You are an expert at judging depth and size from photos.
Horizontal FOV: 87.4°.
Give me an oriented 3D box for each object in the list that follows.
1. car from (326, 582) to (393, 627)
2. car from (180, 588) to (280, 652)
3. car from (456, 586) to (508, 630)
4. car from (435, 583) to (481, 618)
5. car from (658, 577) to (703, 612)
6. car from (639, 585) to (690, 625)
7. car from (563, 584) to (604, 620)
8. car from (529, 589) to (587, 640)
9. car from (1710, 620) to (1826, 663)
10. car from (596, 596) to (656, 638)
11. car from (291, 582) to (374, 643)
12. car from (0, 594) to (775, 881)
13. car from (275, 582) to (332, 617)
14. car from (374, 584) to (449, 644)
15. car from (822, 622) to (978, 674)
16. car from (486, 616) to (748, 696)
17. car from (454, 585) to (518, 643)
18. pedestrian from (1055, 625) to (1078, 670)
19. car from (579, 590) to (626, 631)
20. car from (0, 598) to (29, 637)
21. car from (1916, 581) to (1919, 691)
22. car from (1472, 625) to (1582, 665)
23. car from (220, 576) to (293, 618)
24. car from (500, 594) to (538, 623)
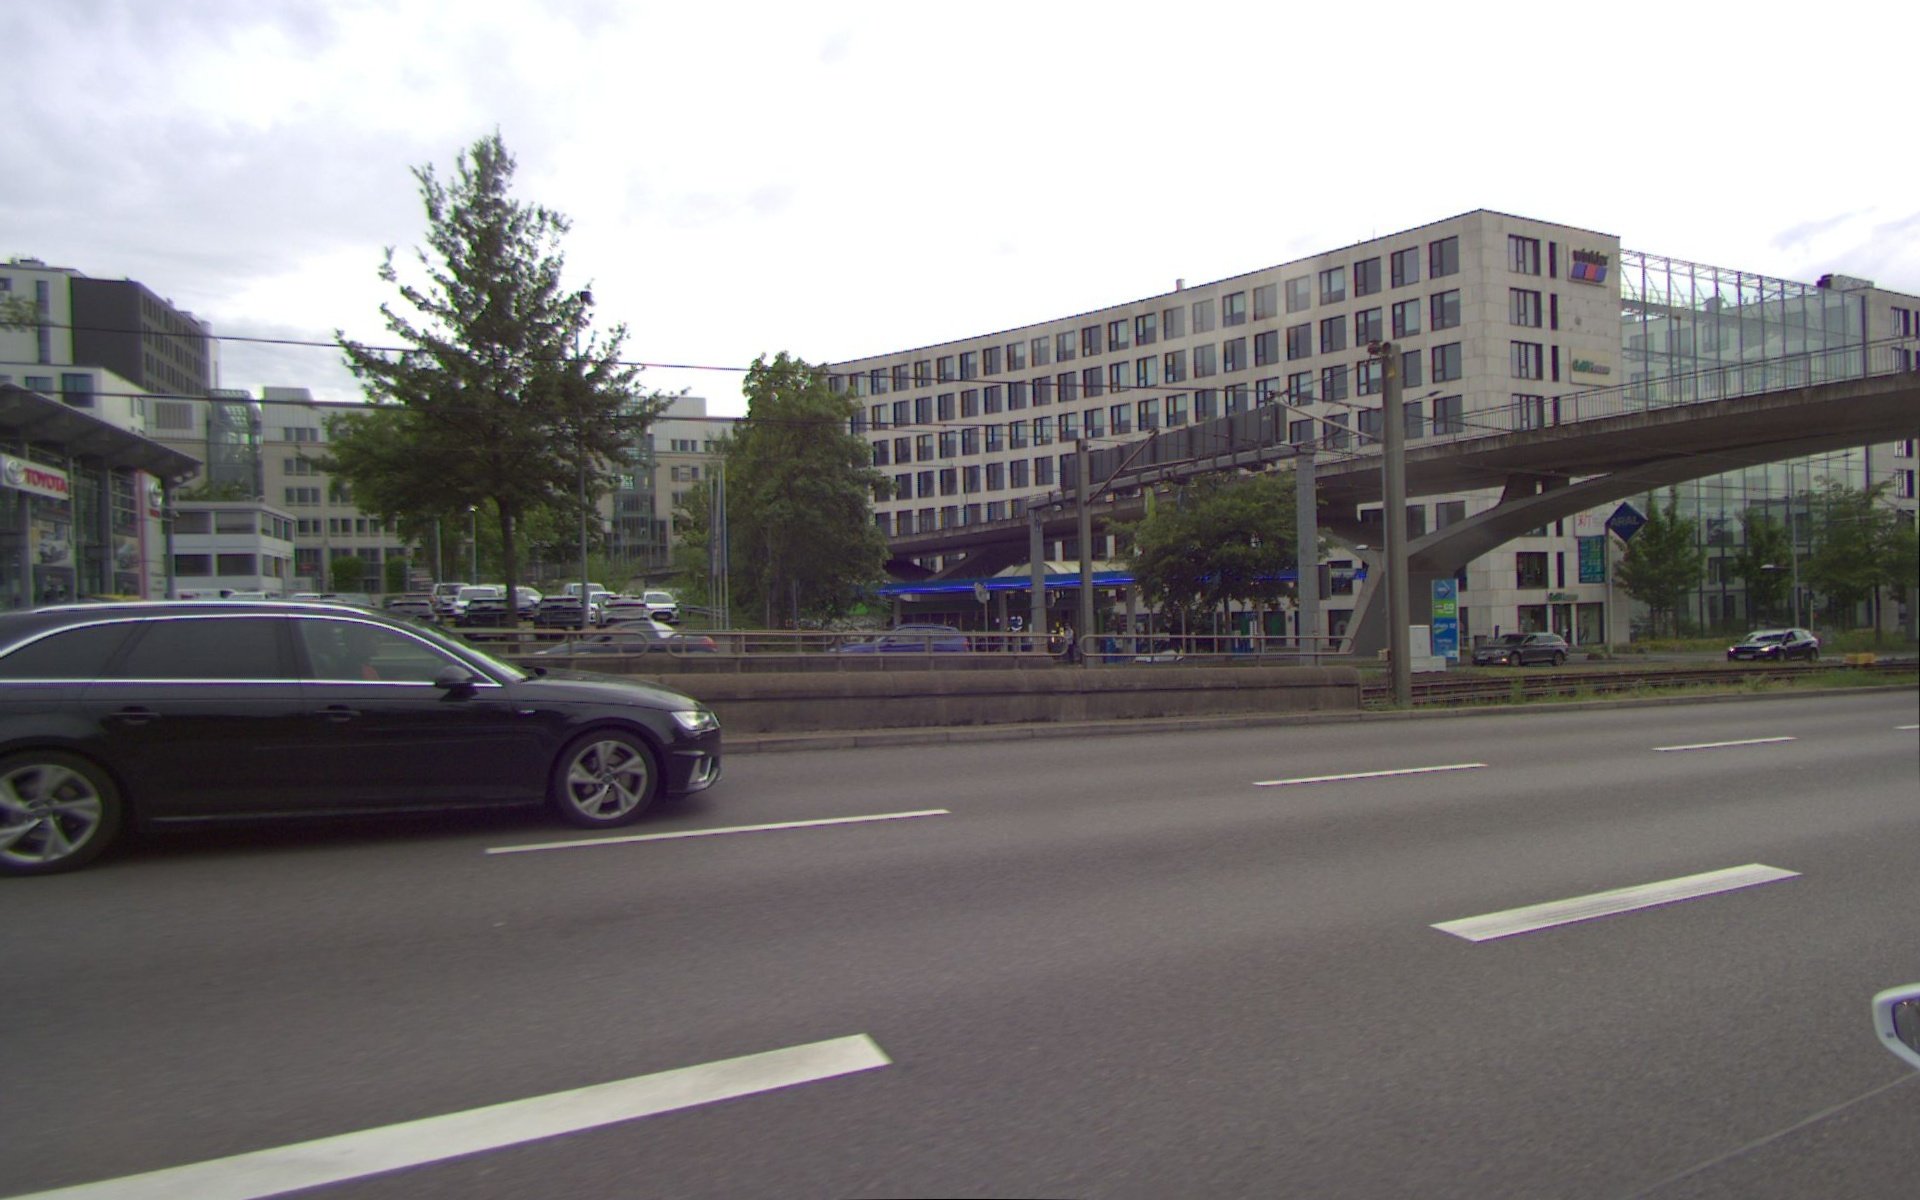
[{"bbox_3d":[-26.066,0.185,43.741,1.858,1.838,4.343,2,0,-23],"label":"car"},{"bbox_3d":[-24.387,0.637,33.710,1.839,1.973,4.202,2,0,-25],"label":"car"},{"bbox_3d":[-21.347,0.334,44.965,1.858,1.838,4.343,2,0,-23],"label":"car"},{"bbox_3d":[-24.847,0.032,49.817,1.777,1.614,3.899,2,0,-23],"label":"car"},{"bbox_3d":[-15.282,-0.297,54.727,1.818,1.794,4.343,2,0,-23],"label":"car"},{"bbox_3d":[-14.419,0.235,48.880,1.858,1.838,4.343,2,0,-23],"label":"car"},{"bbox_3d":[-19.995,0.106,53.284,1.858,1.794,4.343,2,0,-23],"label":"car"},{"bbox_3d":[-15.217,0.510,37.967,1.858,1.795,4.177,2,0,-23],"label":"car"},{"bbox_3d":[32.845,1.636,40.829,4.701,1.559,2.038,0,1,-29],"label":"car"},{"bbox_3d":[-13.082,0.629,39.188,1.858,1.523,4.343,2,0,-23],"label":"car"},{"bbox_3d":[-21.876,0.396,35.186,1.859,1.973,4.340,2,0,-25],"label":"car"},{"bbox_3d":[-3.771,0.728,6.574,4.742,1.432,1.780,1,0,-26],"label":"car"},{"bbox_3d":[-36.168,-0.036,55.444,1.858,1.838,4.343,2,0,-23],"label":"car"},{"bbox_3d":[-19.470,0.472,35.813,1.858,1.973,4.343,2,0,-23],"label":"car"},{"bbox_3d":[-1.698,1.366,28.505,4.056,1.327,1.761,2,0,-25],"label":"car"},{"bbox_3d":[-6.867,1.106,20.211,4.811,1.419,1.783,2,0,-26],"label":"car"},{"bbox_3d":[-17.330,0.480,36.877,1.858,1.973,4.343,2,0,-23],"label":"car"},{"bbox_3d":[4.346,1.940,41.092,0.628,1.820,0.684,2,0,-25],"label":"pedestrian"},{"bbox_3d":[-17.123,0.477,47.972,1.858,1.838,4.343,2,0,-23],"label":"car"},{"bbox_3d":[-37.021,0.647,37.709,1.735,1.425,3.978,2,0,-23],"label":"car"},{"bbox_3d":[22.798,0.769,21.352,4.701,2.315,2.258,0,1,-29],"label":"car"},{"bbox_3d":[24.823,1.922,43.919,4.701,1.559,2.038,0,1,-29],"label":"car"},{"bbox_3d":[-32.705,-0.150,46.848,1.858,1.838,4.343,2,0,-23],"label":"car"},{"bbox_3d":[-22.345,0.424,50.999,1.635,1.391,3.964,2,0,-23],"label":"car"}]
